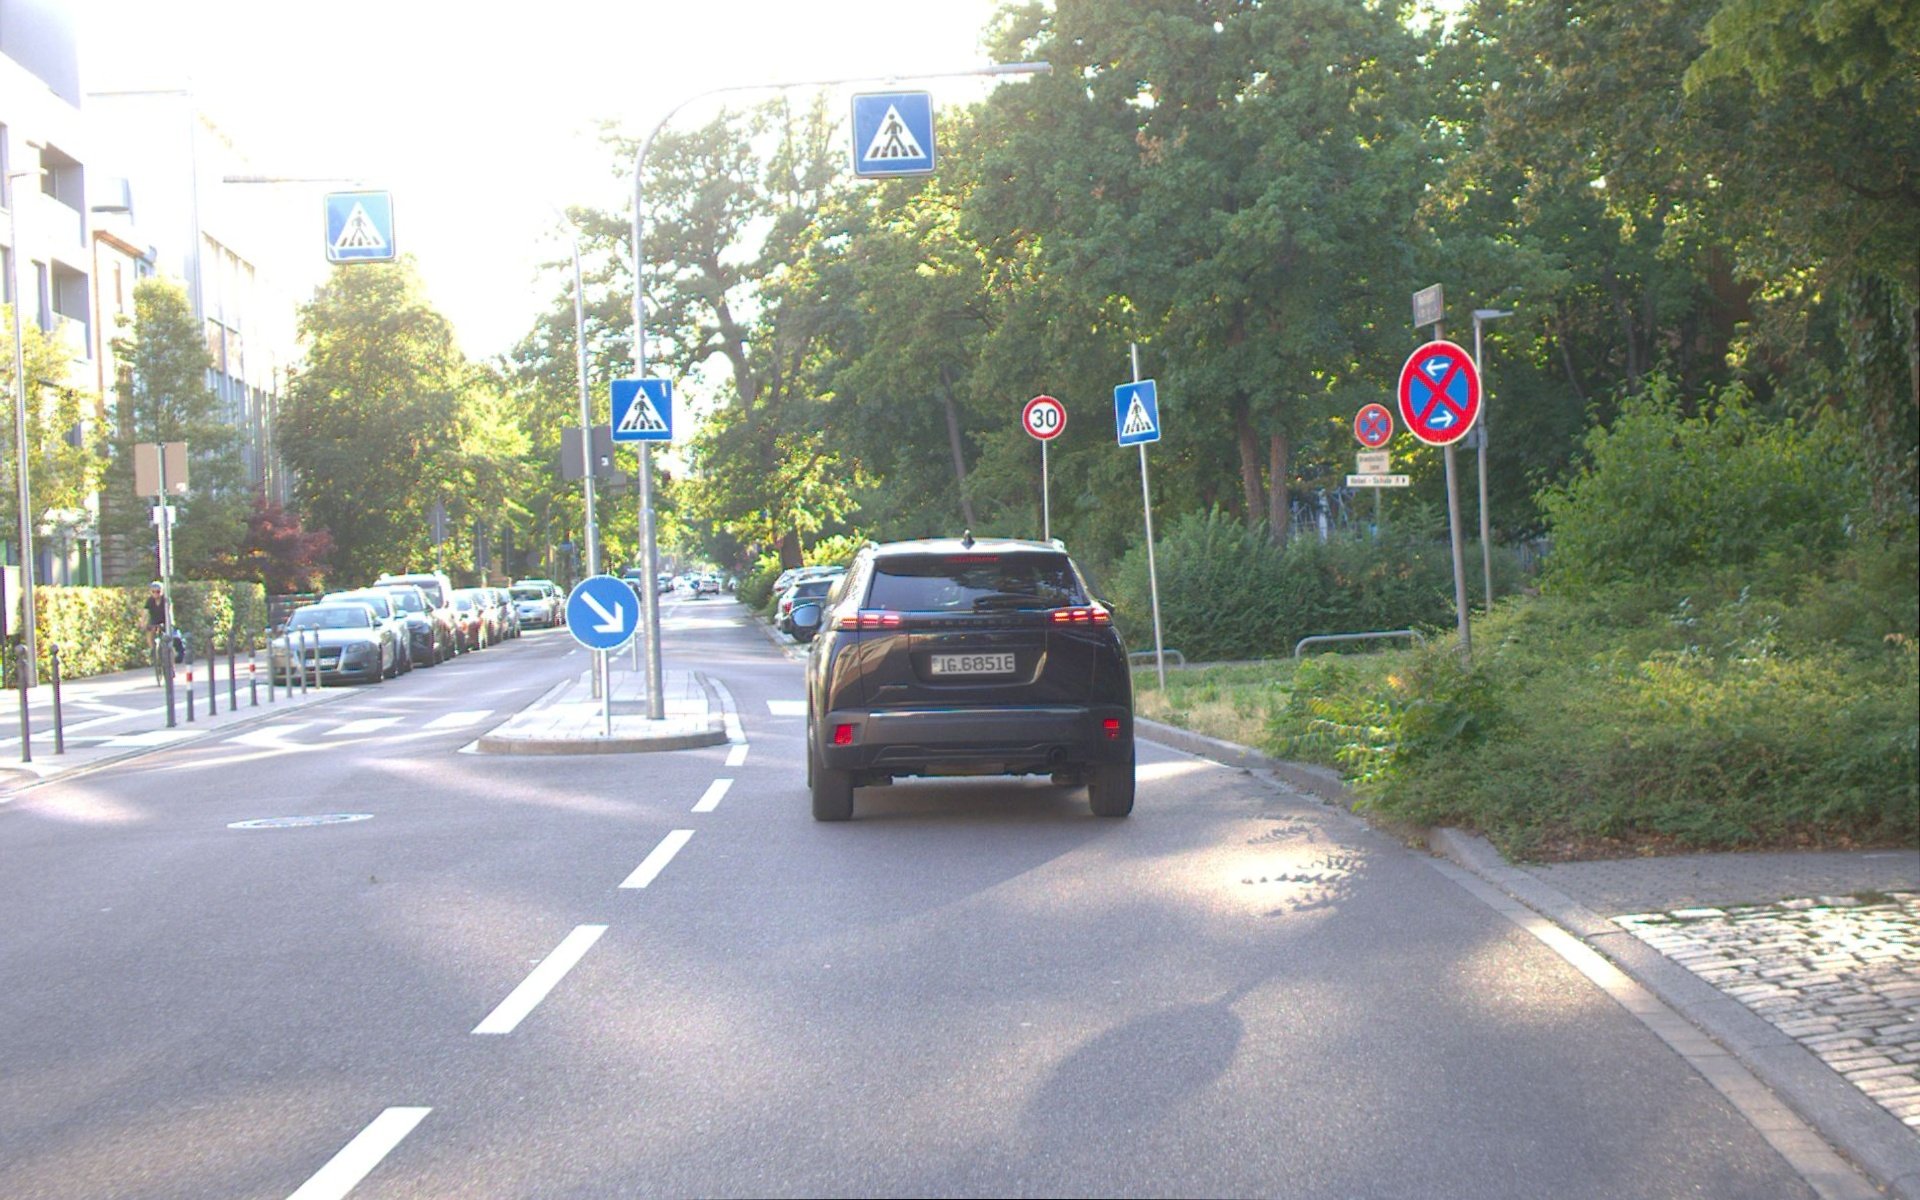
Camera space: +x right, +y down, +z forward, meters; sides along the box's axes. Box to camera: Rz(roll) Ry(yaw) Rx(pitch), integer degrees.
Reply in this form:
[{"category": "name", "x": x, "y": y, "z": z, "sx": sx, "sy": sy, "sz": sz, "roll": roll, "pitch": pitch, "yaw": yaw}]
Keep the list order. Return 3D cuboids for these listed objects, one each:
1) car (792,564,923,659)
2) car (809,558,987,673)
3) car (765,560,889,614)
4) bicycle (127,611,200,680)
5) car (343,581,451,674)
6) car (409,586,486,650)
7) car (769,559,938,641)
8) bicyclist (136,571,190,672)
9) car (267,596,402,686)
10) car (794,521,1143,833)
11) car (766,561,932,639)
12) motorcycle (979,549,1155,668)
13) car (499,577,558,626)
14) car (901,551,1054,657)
[{"category": "car", "x": -1.881, "y": 0.187, "z": 61.759, "sx": 1.650, "sy": 1.562, "sz": 4.302, "roll": -3, "pitch": 1, "yaw": -10}, {"category": "car", "x": -1.081, "y": 0.242, "z": 56.823, "sx": 1.921, "sy": 1.742, "sz": 4.667, "roll": -3, "pitch": 1, "yaw": -13}, {"category": "car", "x": -4.544, "y": -0.440, "z": 117.231, "sx": 4.122, "sy": 1.661, "sz": 1.723, "roll": -2, "pitch": 1, "yaw": -4}, {"category": "bicycle", "x": -13.309, "y": 0.754, "z": 57.521, "sx": 0.633, "sy": 1.074, "sz": 1.883, "roll": -3, "pitch": 1, "yaw": 3}, {"category": "car", "x": -11.347, "y": 0.520, "z": 69.473, "sx": 1.742, "sy": 1.670, "sz": 4.417, "roll": -4, "pitch": 1, "yaw": -5}, {"category": "car", "x": -12.556, "y": 0.415, "z": 84.386, "sx": 1.598, "sy": 1.450, "sz": 3.862, "roll": -3, "pitch": 1, "yaw": -5}, {"category": "car", "x": -2.431, "y": -0.010, "z": 78.071, "sx": 3.609, "sy": 1.520, "sz": 1.672, "roll": -6, "pitch": 1, "yaw": -6}, {"category": "bicyclist", "x": -13.334, "y": 0.354, "z": 57.554, "sx": 0.626, "sy": 1.639, "sz": 0.757, "roll": -3, "pitch": 1, "yaw": 3}, {"category": "car", "x": -10.584, "y": 0.674, "z": 58.433, "sx": 1.742, "sy": 1.352, "sz": 4.397, "roll": -3, "pitch": 1, "yaw": -4}, {"category": "car", "x": -0.004, "y": 0.380, "z": 19.703, "sx": 1.768, "sy": 1.563, "sz": 3.381, "roll": -2, "pitch": 1, "yaw": -2}, {"category": "car", "x": -2.616, "y": -0.010, "z": 80.444, "sx": 3.666, "sy": 1.440, "sz": 1.735, "roll": -6, "pitch": 1, "yaw": -6}, {"category": "motorcycle", "x": 1.491, "y": 0.112, "z": 47.614, "sx": 2.292, "sy": 1.539, "sz": 1.039, "roll": -3, "pitch": 0, "yaw": 7}, {"category": "car", "x": -14.731, "y": 0.040, "z": 117.471, "sx": 1.670, "sy": 1.488, "sz": 4.062, "roll": -4, "pitch": 1, "yaw": -4}, {"category": "car", "x": 0.235, "y": 0.048, "z": 52.304, "sx": 1.619, "sy": 1.481, "sz": 3.420, "roll": -3, "pitch": 1, "yaw": -11}]
